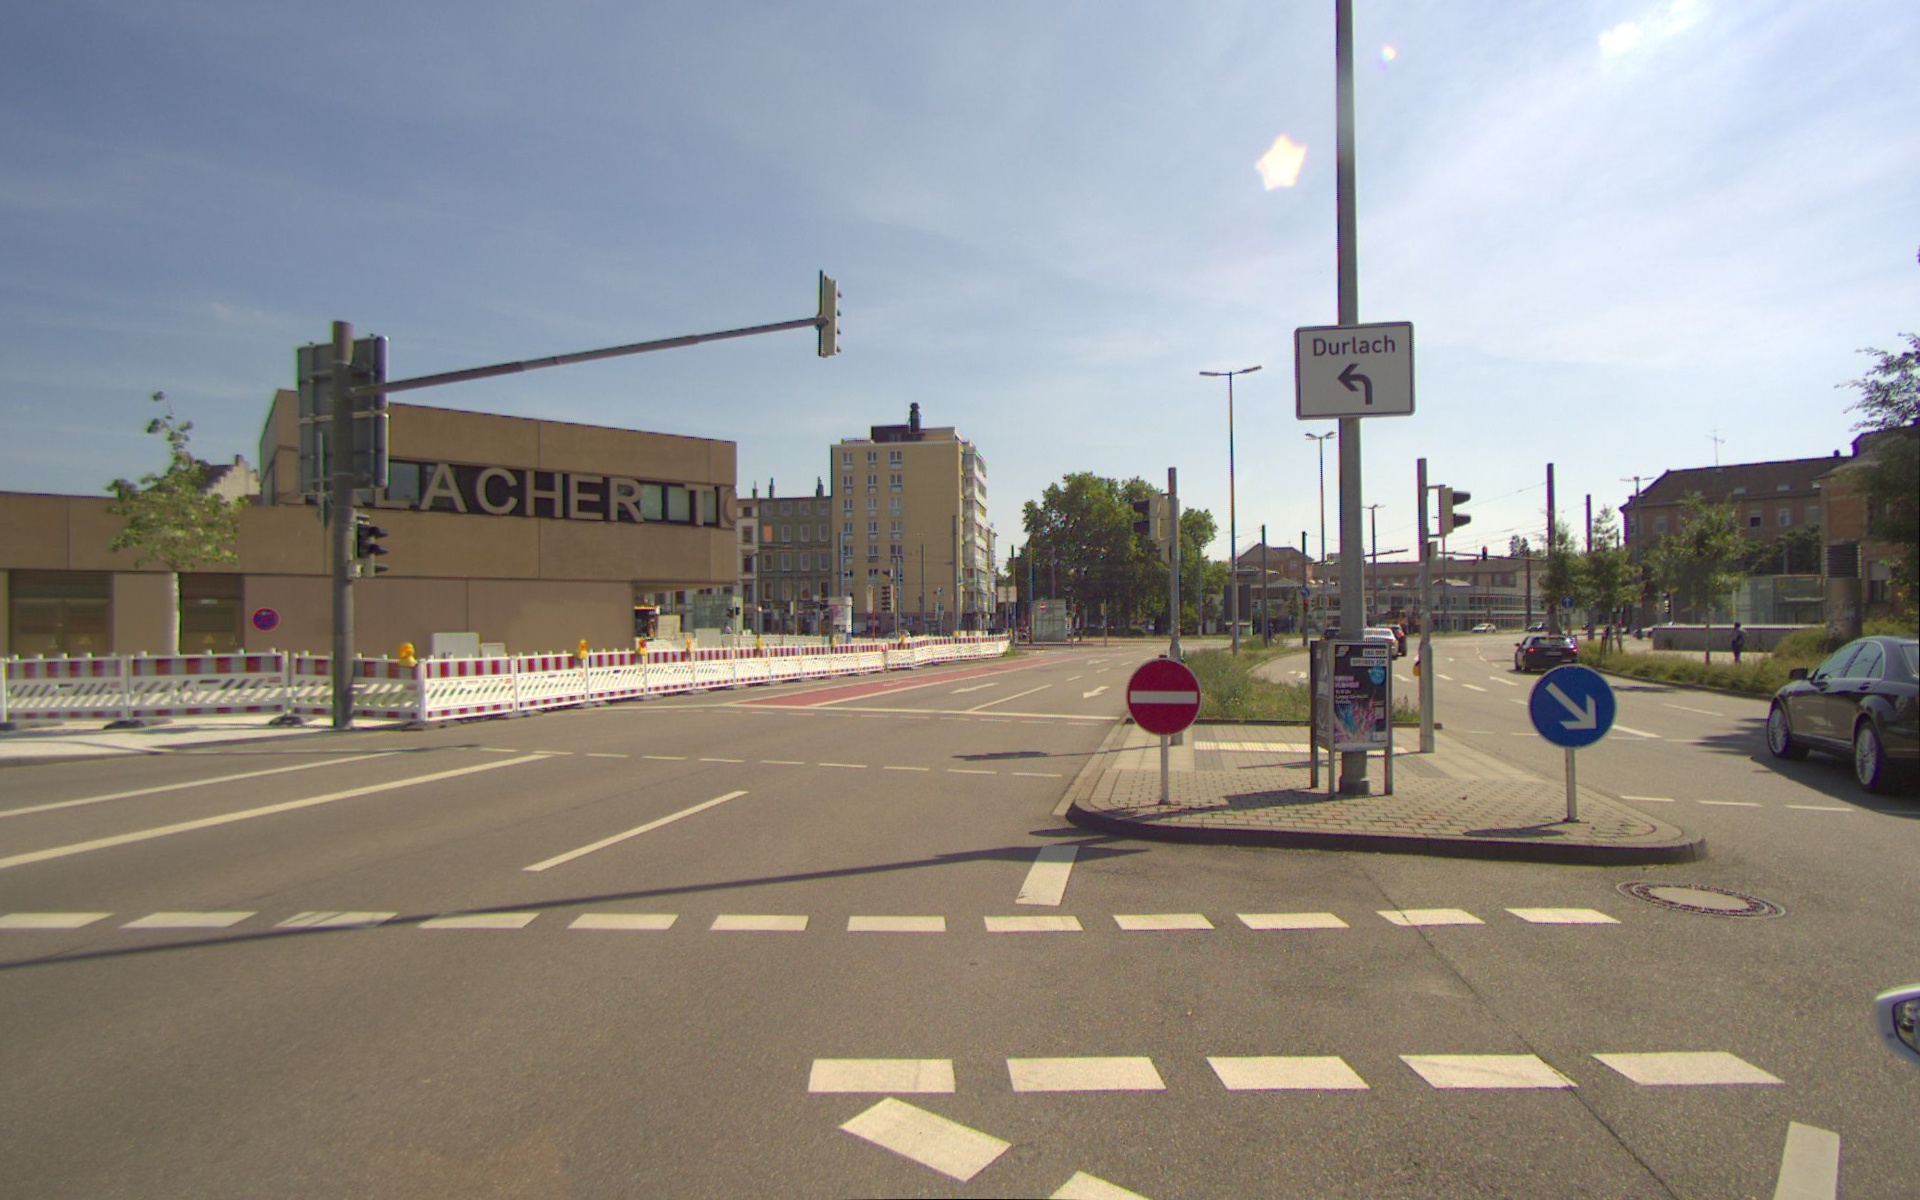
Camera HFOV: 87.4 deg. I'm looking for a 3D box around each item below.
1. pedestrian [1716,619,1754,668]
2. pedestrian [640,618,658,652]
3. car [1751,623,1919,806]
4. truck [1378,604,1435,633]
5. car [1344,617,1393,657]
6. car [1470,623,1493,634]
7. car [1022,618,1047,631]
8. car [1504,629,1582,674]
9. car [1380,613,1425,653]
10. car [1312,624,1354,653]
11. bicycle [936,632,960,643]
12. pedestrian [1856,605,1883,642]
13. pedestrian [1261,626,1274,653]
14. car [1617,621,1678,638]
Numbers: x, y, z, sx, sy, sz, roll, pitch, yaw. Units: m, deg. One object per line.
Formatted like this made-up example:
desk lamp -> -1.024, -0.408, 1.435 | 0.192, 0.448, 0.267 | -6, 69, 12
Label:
pedestrian -> 28.347, 1.577, 36.757 | 0.856, 1.748, 0.800 | -1, -1, 20
pedestrian -> -15.944, 1.788, 51.487 | 0.641, 1.683, 0.647 | -1, -2, 42
car -> 9.909, 1.045, 10.272 | 1.830, 1.550, 4.710 | -1, -3, 26
truck -> 59.935, 2.449, 134.753 | 7.838, 3.779, 3.049 | 1, -2, -31
car -> 19.741, 1.788, 48.628 | 1.961, 1.840, 4.001 | -1, -2, 19
car -> 75.330, 4.119, 145.052 | 3.972, 1.530, 1.777 | 1, -2, -44
car -> 11.673, 3.841, 157.426 | 3.920, 2.041, 2.000 | 0, 1, 1
car -> 21.543, 1.858, 37.278 | 1.764, 1.530, 4.001 | 0, -1, 19
car -> 23.714, 1.770, 53.749 | 1.963, 2.040, 3.995 | -1, -2, 27
car -> 20.982, 2.127, 56.407 | 1.767, 1.530, 3.995 | -1, -2, 27
bicycle -> -1.372, 4.334, 116.057 | 2.767, 1.238, 0.994 | 0, 1, 3
pedestrian -> 42.446, 1.097, 46.869 | 0.637, 1.683, 0.650 | 0, -1, 5
pedestrian -> 19.057, 2.433, 62.258 | 0.639, 1.683, 0.662 | -1, -1, 31
car -> 62.842, 2.685, 91.832 | 4.190, 1.530, 1.801 | -1, -1, 10
